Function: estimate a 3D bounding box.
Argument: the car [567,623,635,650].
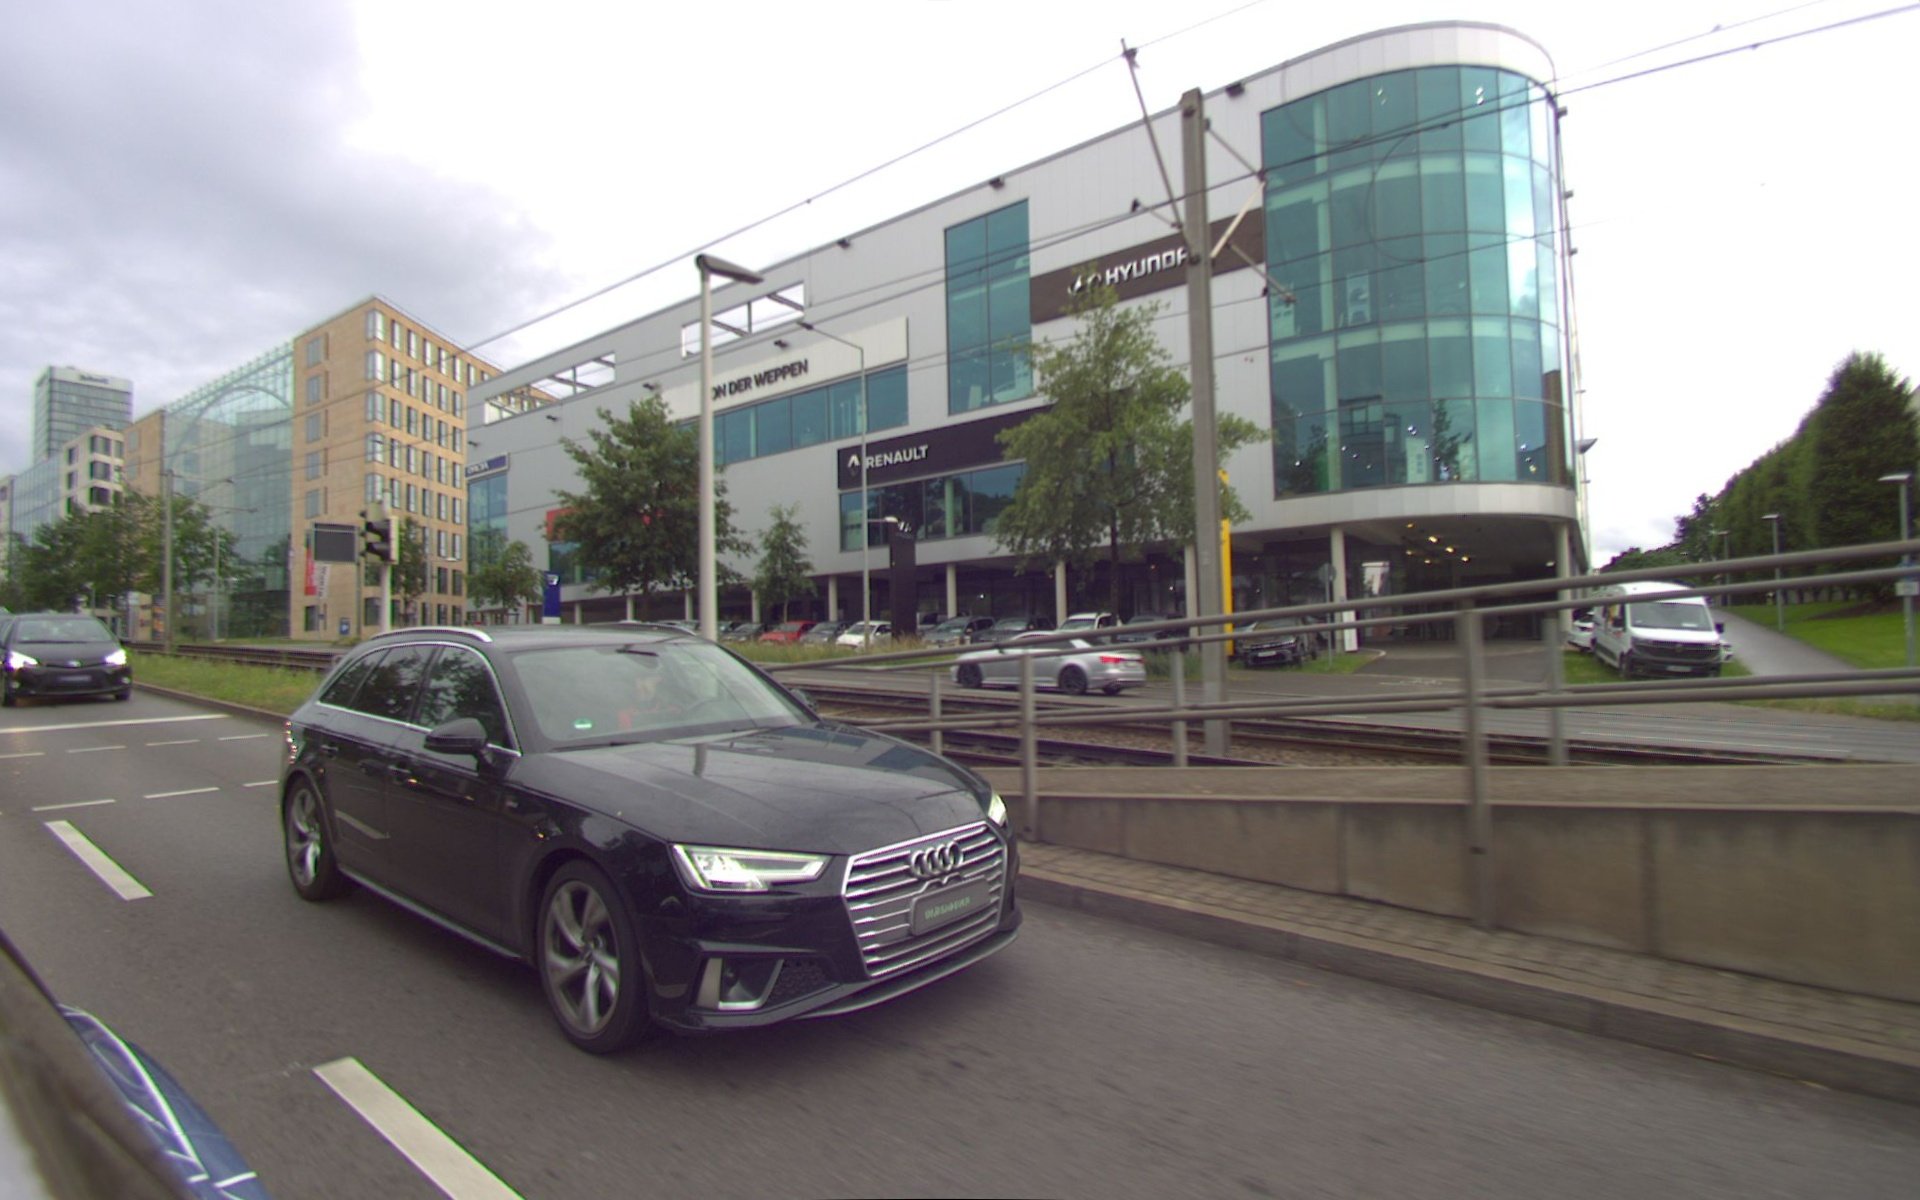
[{"bbox_3d":[-20.780,2.097,58.752,1.809,1.502,3.819,-1,-1,18],"label":"car"}]

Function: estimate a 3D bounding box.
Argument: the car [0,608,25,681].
[{"bbox_3d":[-24.196,1.073,24.587,4.129,1.693,1.758,-2,-2,41],"label":"car"}]

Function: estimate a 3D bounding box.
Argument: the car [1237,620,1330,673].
[{"bbox_3d":[10.410,1.434,32.368,1.891,1.519,3.956,-1,0,33],"label":"car"}]

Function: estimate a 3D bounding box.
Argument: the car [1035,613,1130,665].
[{"bbox_3d":[4.623,1.418,37.691,1.917,1.674,3.954,-2,1,34],"label":"car"}]

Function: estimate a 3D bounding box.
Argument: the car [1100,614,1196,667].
[{"bbox_3d":[6.754,1.390,36.081,1.917,1.674,3.954,-2,0,34],"label":"car"}]

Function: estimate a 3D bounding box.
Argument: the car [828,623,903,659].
[{"bbox_3d":[-4.186,1.828,45.453,1.812,1.502,3.813,-1,-1,23],"label":"car"}]

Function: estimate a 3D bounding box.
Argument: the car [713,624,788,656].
[{"bbox_3d":[-10.353,1.978,50.242,1.812,1.502,3.813,-1,-1,23],"label":"car"}]

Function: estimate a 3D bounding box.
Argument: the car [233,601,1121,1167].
[{"bbox_3d":[-1.767,0.789,4.868,4.826,1.445,1.771,-2,-2,41],"label":"car"}]

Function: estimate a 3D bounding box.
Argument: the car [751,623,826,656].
[{"bbox_3d":[-8.185,1.877,48.547,1.812,1.502,3.813,-1,-1,23],"label":"car"}]

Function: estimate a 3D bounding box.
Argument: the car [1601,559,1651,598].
[{"bbox_3d":[46.094,-1.438,70.000,2.741,2.514,5.420,-1,0,35],"label":"car"}]

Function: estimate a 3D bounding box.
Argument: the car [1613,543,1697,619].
[{"bbox_3d":[32.077,-0.809,46.775,2.994,3.297,5.420,-1,0,35],"label":"car"}]

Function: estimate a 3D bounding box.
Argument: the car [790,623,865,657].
[{"bbox_3d":[-6.139,1.853,47.158,1.812,1.502,3.813,-1,-1,23],"label":"car"}]

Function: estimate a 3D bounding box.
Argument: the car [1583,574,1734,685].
[{"bbox_3d":[18.565,0.715,27.201,2.265,2.649,5.441,-1,0,23],"label":"car"}]

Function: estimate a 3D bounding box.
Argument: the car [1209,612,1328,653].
[{"bbox_3d":[11.678,1.242,38.482,3.946,1.480,1.770,-1,-1,2],"label":"car"}]

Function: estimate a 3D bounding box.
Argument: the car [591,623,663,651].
[{"bbox_3d":[-18.745,2.063,57.143,1.812,1.502,3.813,-1,-1,23],"label":"car"}]

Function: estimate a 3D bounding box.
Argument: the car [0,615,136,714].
[{"bbox_3d":[-15.850,1.054,17.594,3.999,1.513,1.775,-2,-2,42],"label":"car"}]

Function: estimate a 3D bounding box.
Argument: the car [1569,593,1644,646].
[{"bbox_3d":[25.514,0.705,39.833,2.274,1.941,5.420,-1,0,35],"label":"car"}]

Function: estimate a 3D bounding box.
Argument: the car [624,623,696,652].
[{"bbox_3d":[-16.433,2.037,55.616,1.812,1.502,3.813,-1,-1,23],"label":"car"}]

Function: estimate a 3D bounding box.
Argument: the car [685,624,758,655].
[{"bbox_3d":[-12.206,2.018,52.058,1.812,1.502,3.813,-1,-1,23],"label":"car"}]

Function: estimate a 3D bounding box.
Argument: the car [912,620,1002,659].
[{"bbox_3d":[-0.067,1.594,41.747,1.819,1.502,3.954,-2,-2,34],"label":"car"}]

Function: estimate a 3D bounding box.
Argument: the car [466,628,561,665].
[{"bbox_3d":[-19.654,2.018,44.430,4.871,1.447,1.973,-1,0,41],"label":"car"}]

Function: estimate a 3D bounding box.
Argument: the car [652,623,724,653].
[{"bbox_3d":[-14.419,1.999,53.838,1.812,1.502,3.813,-1,-1,23],"label":"car"}]

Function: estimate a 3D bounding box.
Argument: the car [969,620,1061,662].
[{"bbox_3d":[2.188,1.551,39.352,1.819,1.502,3.954,-2,-2,34],"label":"car"}]

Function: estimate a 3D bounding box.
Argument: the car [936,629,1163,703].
[{"bbox_3d":[1.910,1.406,22.728,4.871,1.399,1.973,-1,0,41],"label":"car"}]

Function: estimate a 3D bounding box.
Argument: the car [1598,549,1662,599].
[{"bbox_3d":[36.314,-1.336,54.830,2.741,2.514,5.420,-1,0,35],"label":"car"}]

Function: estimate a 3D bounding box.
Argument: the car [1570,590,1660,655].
[{"bbox_3d":[21.528,0.679,33.156,2.274,1.941,5.420,-1,0,35],"label":"car"}]
